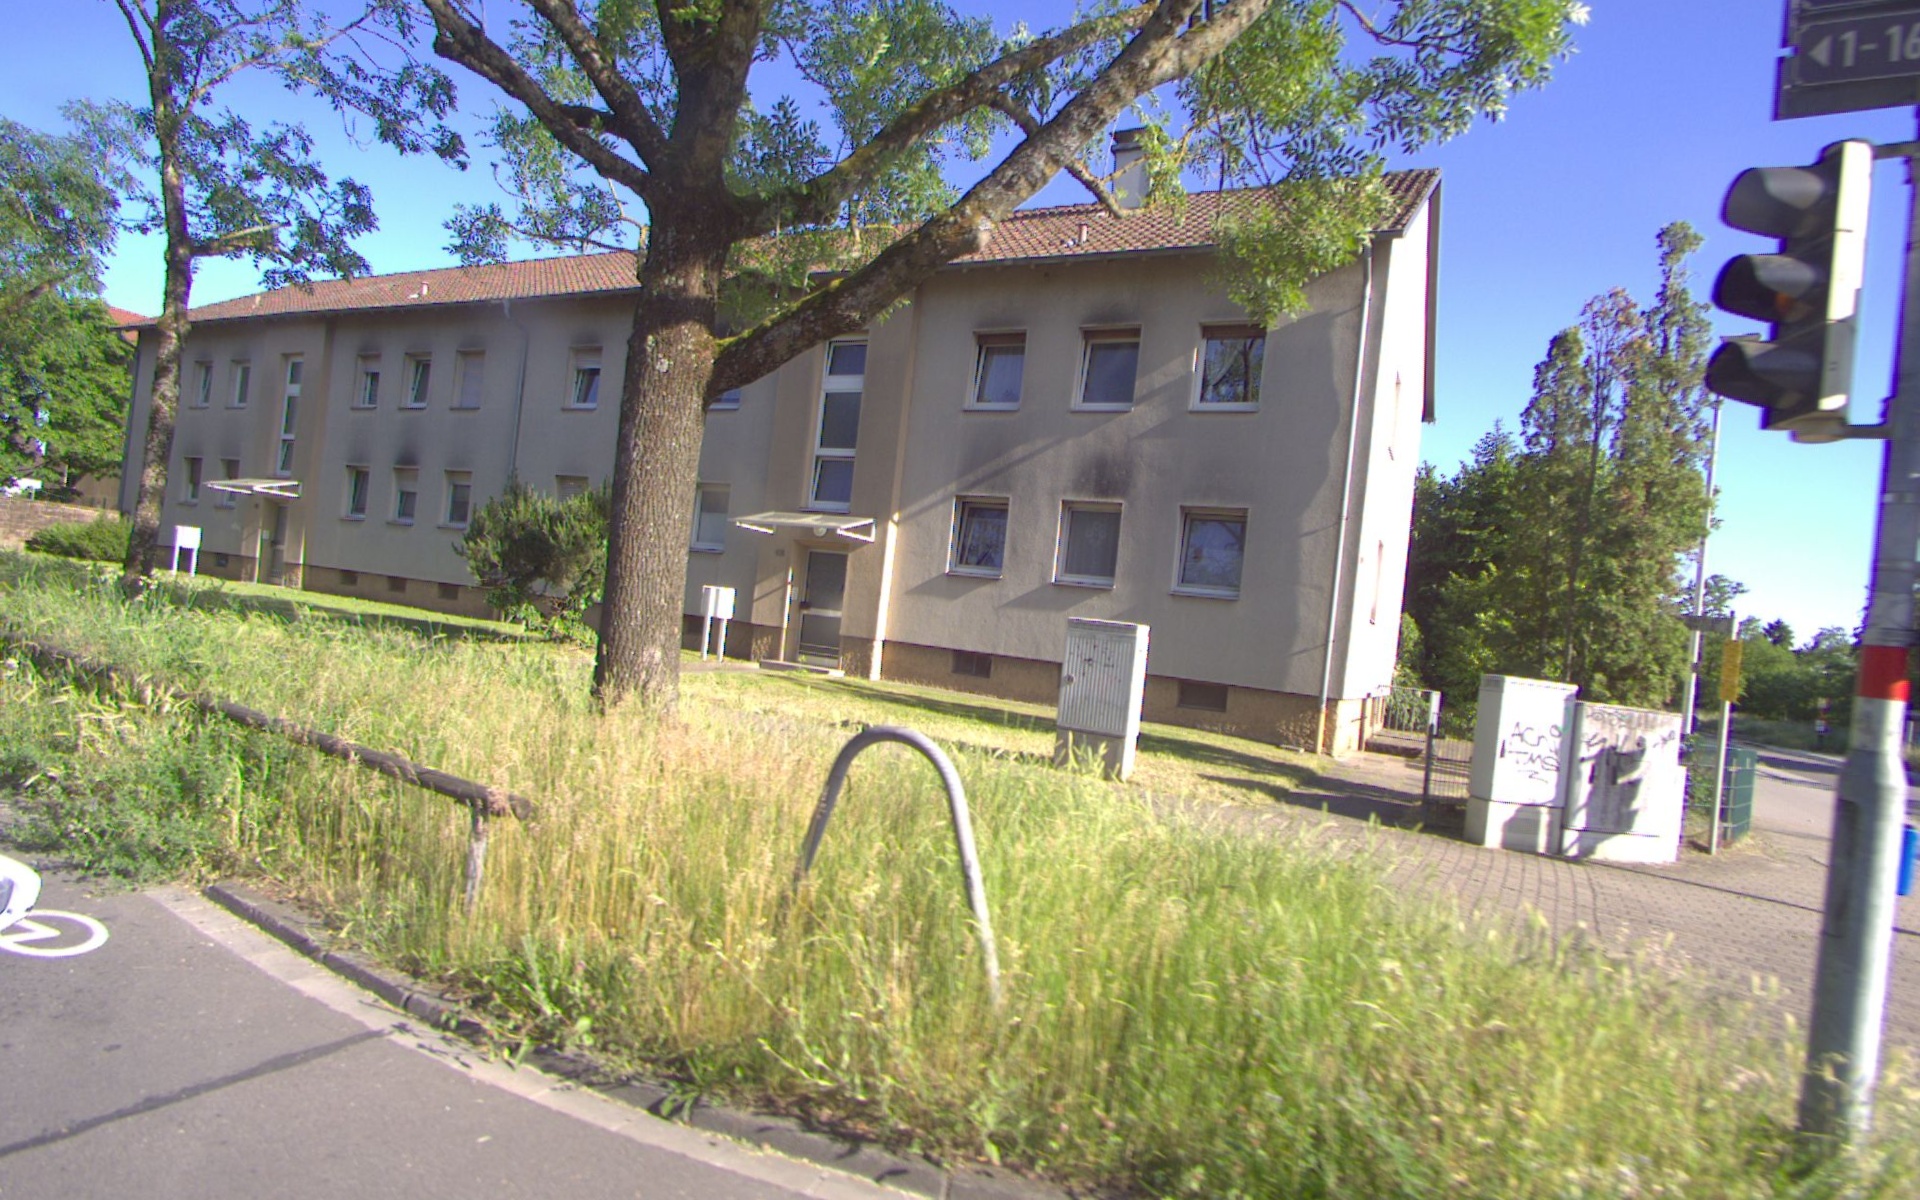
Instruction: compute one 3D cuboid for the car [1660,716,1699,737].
[{"bbox_3d":[60.860,10.669,85.192,1.836,1.548,4.199,3,-4,24],"label":"car"}]
